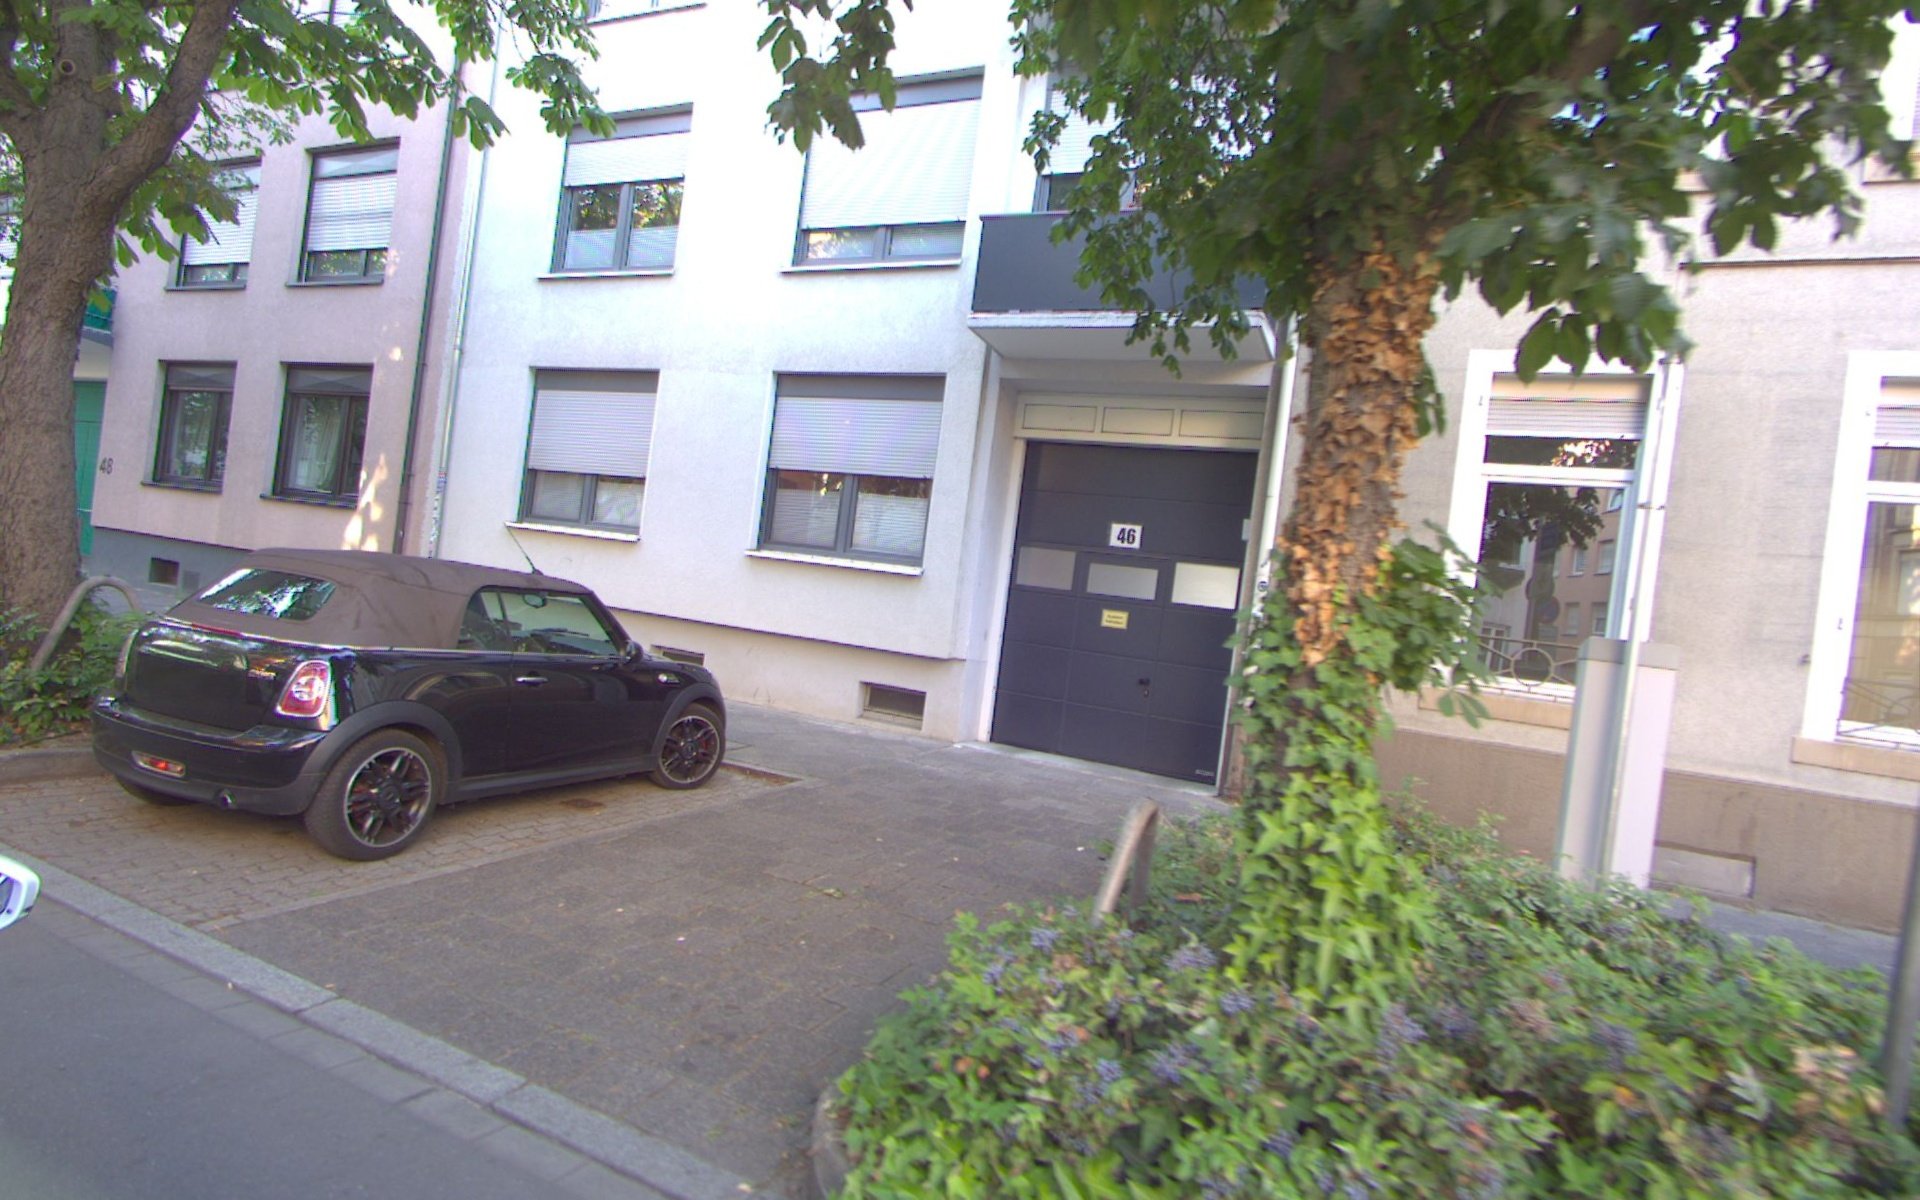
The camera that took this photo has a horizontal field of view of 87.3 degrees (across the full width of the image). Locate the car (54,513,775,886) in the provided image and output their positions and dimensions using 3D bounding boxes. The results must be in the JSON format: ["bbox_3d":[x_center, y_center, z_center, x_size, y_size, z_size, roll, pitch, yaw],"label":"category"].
[{"bbox_3d":[-2.884,0.435,6.250,1.597,1.446,3.711,7,2,21],"label":"car"}]
